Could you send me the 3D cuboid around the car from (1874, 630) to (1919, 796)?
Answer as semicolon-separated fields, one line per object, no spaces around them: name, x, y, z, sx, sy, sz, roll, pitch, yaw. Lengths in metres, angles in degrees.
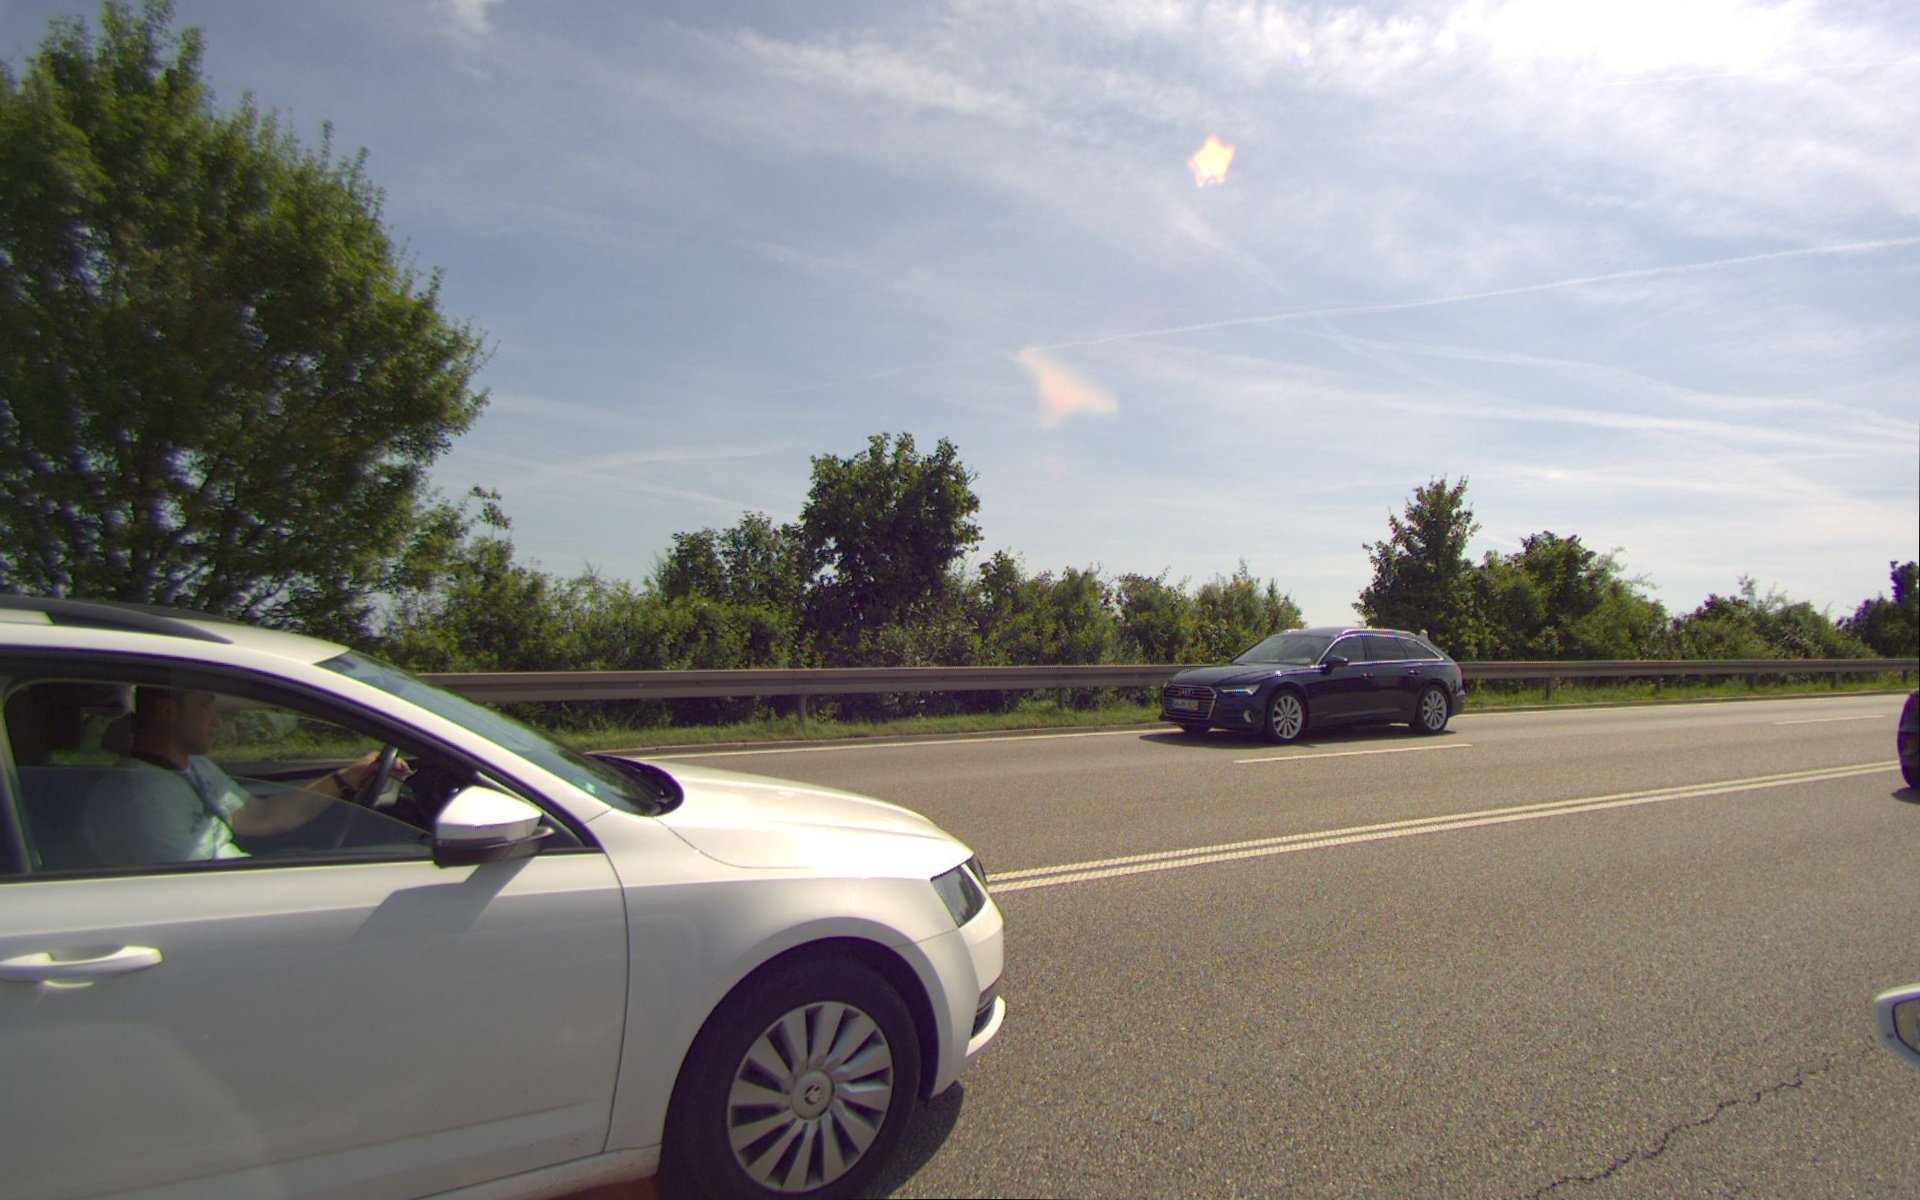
car;11.005;1.074;9.758;4.752;1.492;1.698;1;-1;-29

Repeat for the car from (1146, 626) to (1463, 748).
car;4.838;1.124;13.989;4.274;1.474;1.828;2;-2;-30

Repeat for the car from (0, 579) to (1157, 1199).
car;-1.908;0.715;2.491;4.734;1.492;1.811;1;-1;-31
